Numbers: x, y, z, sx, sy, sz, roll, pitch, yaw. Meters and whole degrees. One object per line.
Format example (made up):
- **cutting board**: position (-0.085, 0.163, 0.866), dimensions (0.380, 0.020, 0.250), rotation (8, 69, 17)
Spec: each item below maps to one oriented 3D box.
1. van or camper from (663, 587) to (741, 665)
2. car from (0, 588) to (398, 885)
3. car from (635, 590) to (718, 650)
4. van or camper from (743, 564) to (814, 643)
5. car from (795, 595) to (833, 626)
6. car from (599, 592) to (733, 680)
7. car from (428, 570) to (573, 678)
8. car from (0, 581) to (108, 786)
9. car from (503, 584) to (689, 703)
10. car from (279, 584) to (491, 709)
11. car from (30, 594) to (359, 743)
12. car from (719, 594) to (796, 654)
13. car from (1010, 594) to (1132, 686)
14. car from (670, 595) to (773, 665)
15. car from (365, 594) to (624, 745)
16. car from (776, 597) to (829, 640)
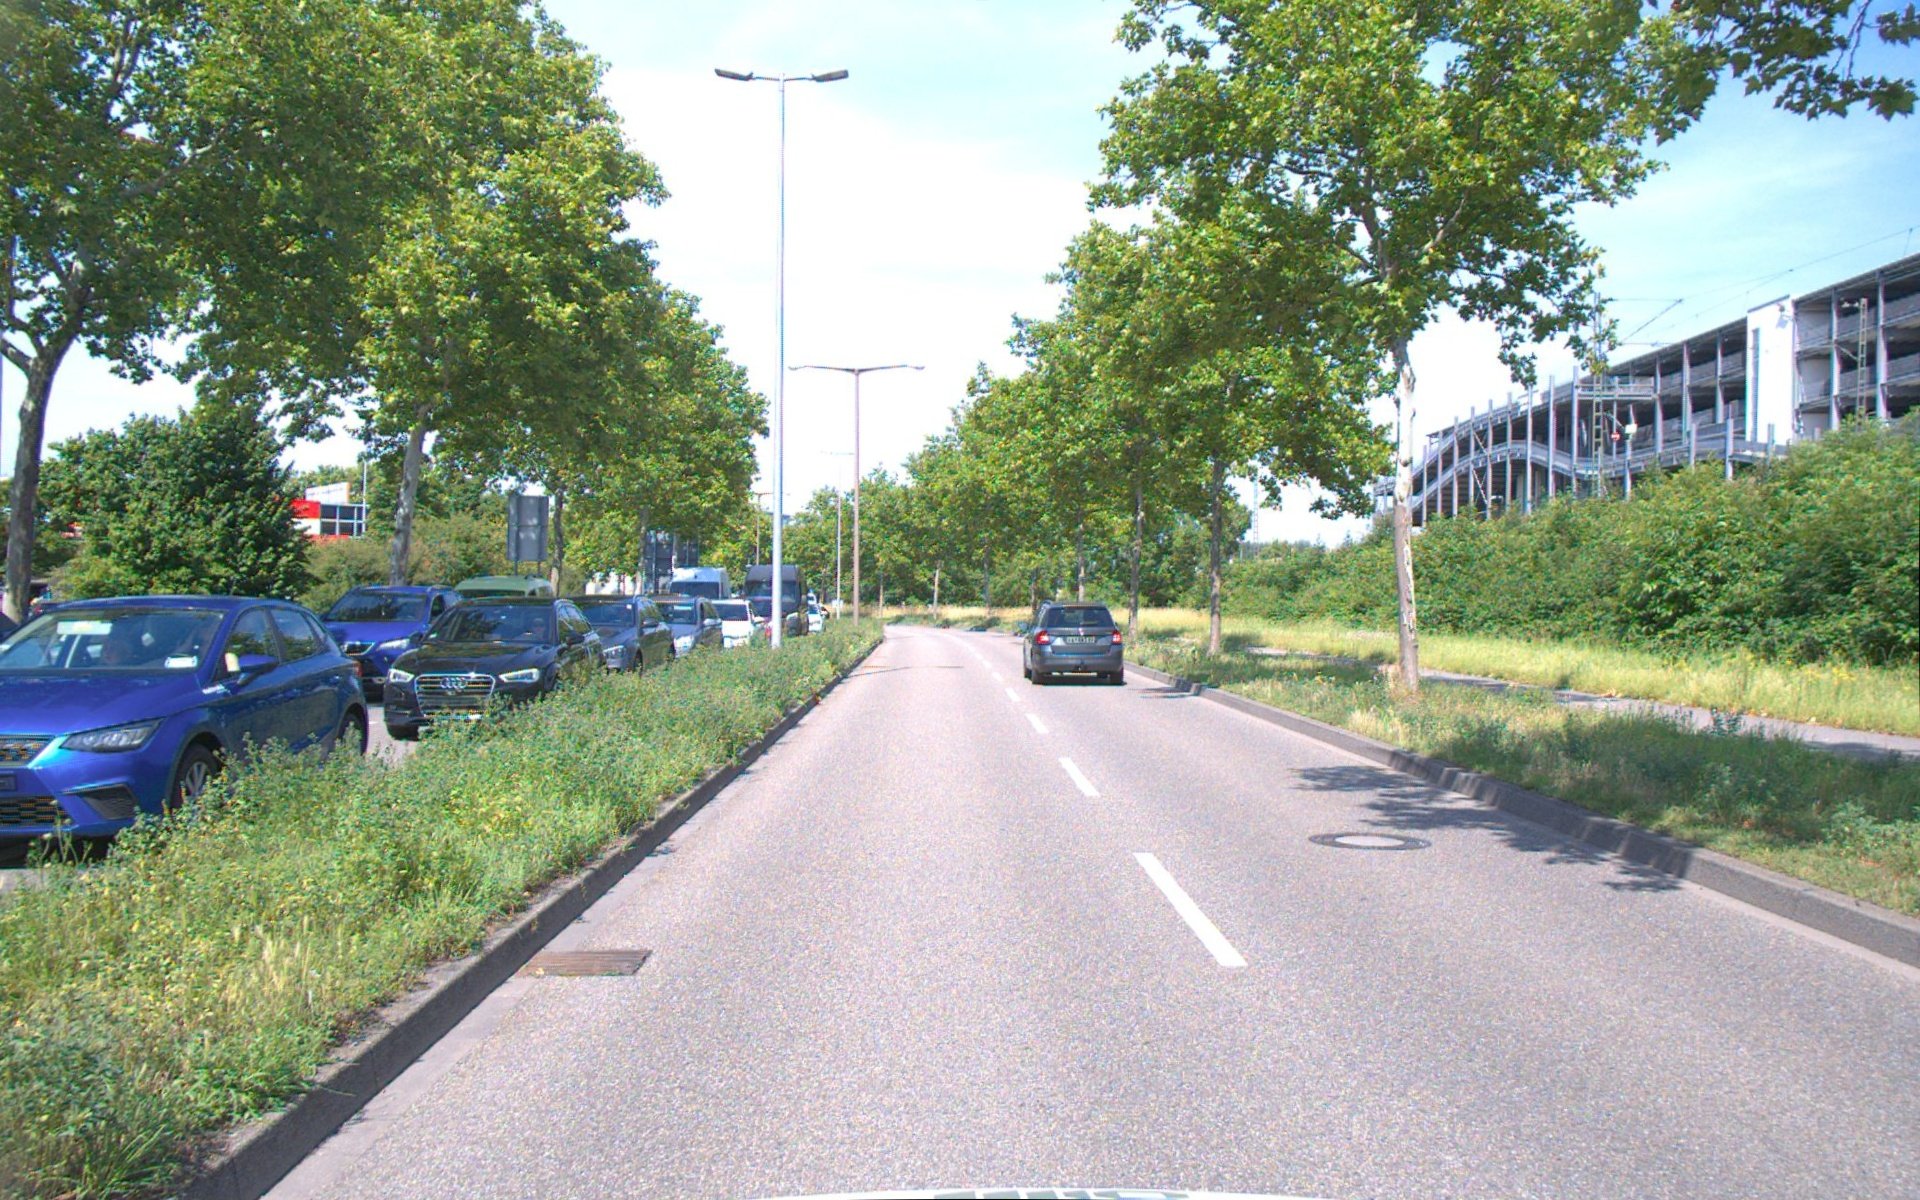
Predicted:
- **van or camper**: position (-9.092, 0.876, 58.672), dimensions (1.974, 2.633, 5.516), rotation (0, 0, -1)
- **car**: position (-5.104, 0.687, 10.518), dimensions (1.748, 1.515, 4.209), rotation (0, 0, -2)
- **car**: position (-8.750, 0.588, 51.396), dimensions (1.953, 1.786, 3.999), rotation (0, 0, -1)
- **van or camper**: position (-5.787, 0.122, 53.241), dimensions (1.899, 2.410, 5.395), rotation (0, -1, -2)
- **car**: position (-7.461, 0.527, 84.695), dimensions (1.654, 1.557, 3.814), rotation (0, 0, -1)
- **car**: position (-5.519, 0.628, 31.589), dimensions (1.776, 1.557, 4.641), rotation (0, 0, -1)
- **car**: position (-8.586, 0.437, 31.232), dimensions (1.654, 1.891, 4.035), rotation (0, 0, -1)
- **car**: position (-8.112, 0.639, 12.206), dimensions (1.654, 1.557, 3.938), rotation (0, 0, -1)
- **car**: position (-5.418, 0.582, 25.265), dimensions (1.809, 1.635, 5.007), rotation (0, 0, -1)
- **car**: position (-8.263, 0.614, 24.165), dimensions (1.654, 1.660, 4.310), rotation (0, 0, -1)
- **car**: position (-8.385, 0.669, 18.595), dimensions (1.697, 1.477, 4.428), rotation (0, 0, -1)
- **car**: position (-5.355, 0.613, 44.087), dimensions (1.654, 1.537, 3.814), rotation (0, 0, -1)
- **car**: position (1.967, 0.685, 30.409), dimensions (1.641, 1.478, 4.033), rotation (3, 0, -4)
- **car**: position (-5.362, 0.640, 37.667), dimensions (1.747, 1.484, 4.471), rotation (0, 0, -1)
- **car**: position (-5.037, 0.676, 18.533), dimensions (1.787, 1.491, 4.448), rotation (0, 0, -2)
- **car**: position (-5.753, 0.679, 60.738), dimensions (1.654, 1.557, 3.813), rotation (0, -1, -1)
